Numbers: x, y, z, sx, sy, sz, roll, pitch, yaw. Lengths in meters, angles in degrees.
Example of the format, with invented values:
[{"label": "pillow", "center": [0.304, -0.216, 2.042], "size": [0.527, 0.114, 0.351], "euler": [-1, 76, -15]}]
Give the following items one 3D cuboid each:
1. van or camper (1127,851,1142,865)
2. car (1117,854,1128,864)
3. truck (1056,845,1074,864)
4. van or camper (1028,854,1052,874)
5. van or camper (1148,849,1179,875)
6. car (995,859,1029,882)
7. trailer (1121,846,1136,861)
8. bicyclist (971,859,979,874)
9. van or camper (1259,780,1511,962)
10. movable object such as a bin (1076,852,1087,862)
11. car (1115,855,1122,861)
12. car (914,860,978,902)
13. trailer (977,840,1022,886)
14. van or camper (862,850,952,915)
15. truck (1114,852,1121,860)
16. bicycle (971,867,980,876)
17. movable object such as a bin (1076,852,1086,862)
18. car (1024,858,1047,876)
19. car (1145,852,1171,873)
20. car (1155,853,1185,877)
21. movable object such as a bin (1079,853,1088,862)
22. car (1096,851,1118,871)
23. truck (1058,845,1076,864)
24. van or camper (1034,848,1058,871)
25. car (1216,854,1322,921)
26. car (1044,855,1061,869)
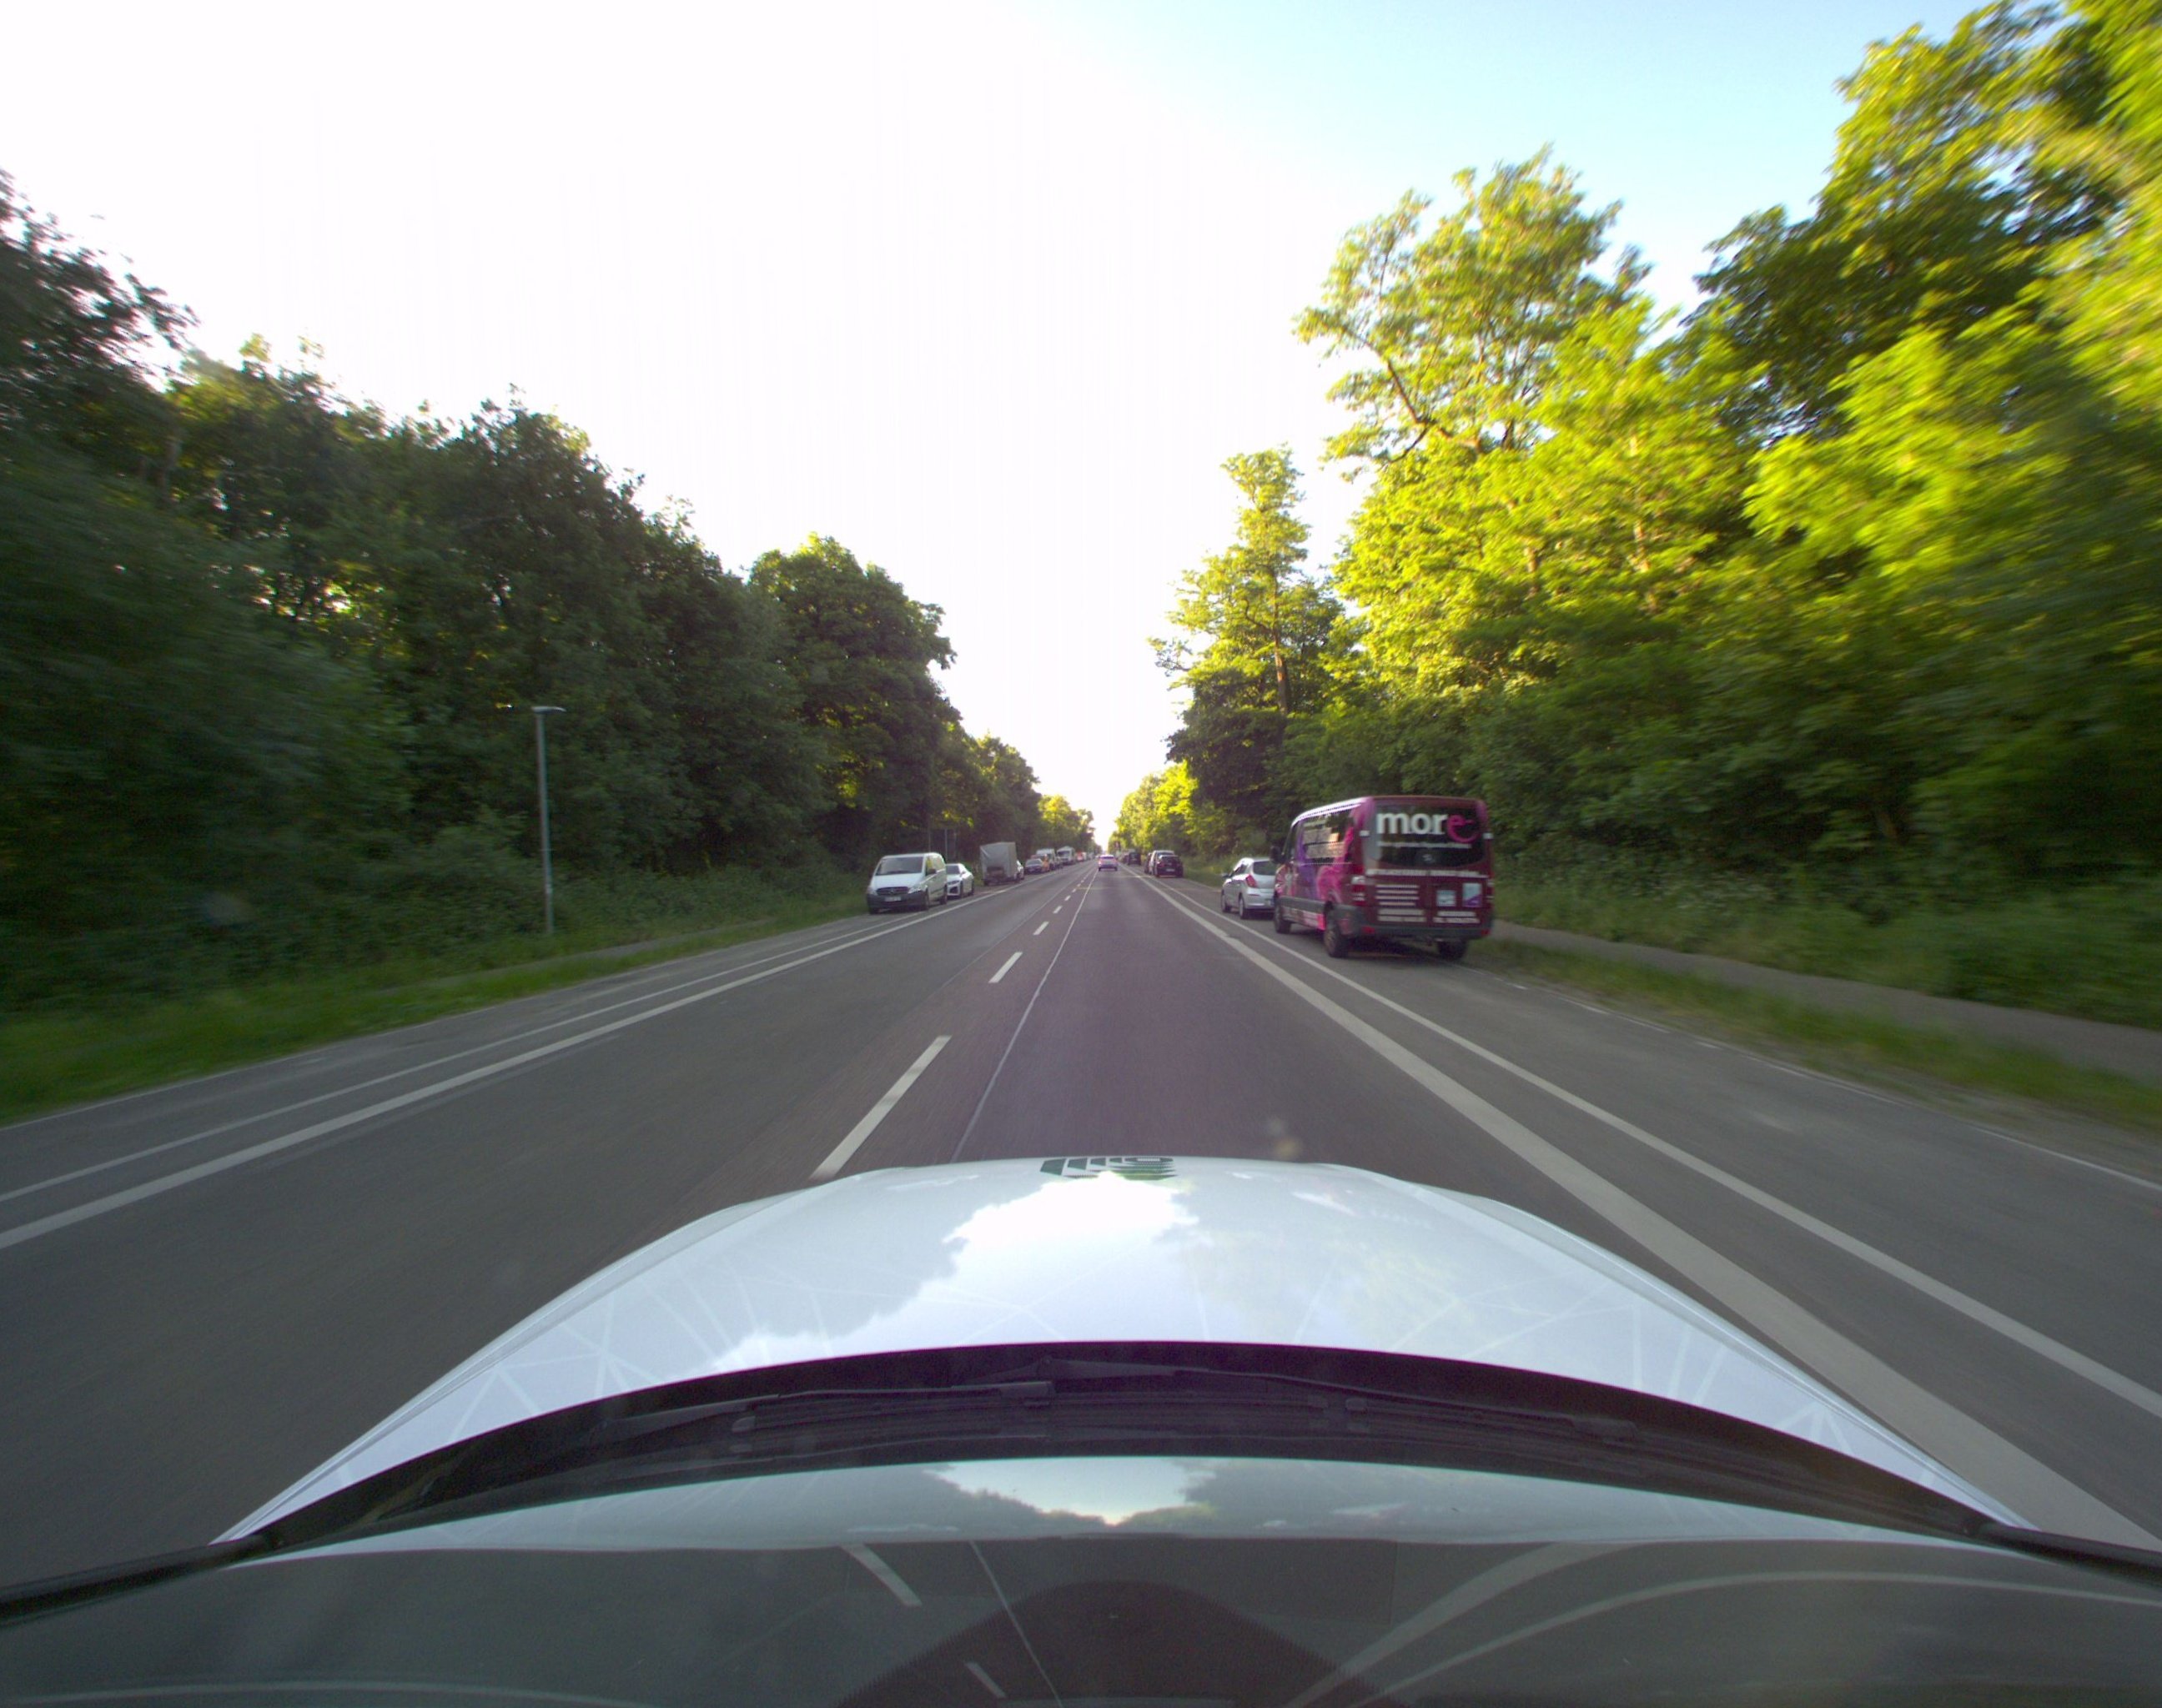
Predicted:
[{"label": "van or camper", "center": [7.476, 0.527, 113.677], "size": [1.986, 1.932, 5.201], "euler": [0, 0, 2]}, {"label": "car", "center": [6.940, 0.820, 137.056], "size": [1.834, 1.662, 4.002], "euler": [-1, 0, 2]}, {"label": "truck", "center": [-2.751, 0.111, 143.250], "size": [2.697, 3.093, 7.993], "euler": [-1, 0, 2]}, {"label": "van or camper", "center": [-4.154, 0.986, 83.750], "size": [1.915, 1.867, 4.865], "euler": [-3, 0, 2]}, {"label": "van or camper", "center": [6.080, 0.545, 60.384], "size": [1.944, 1.815, 4.382], "euler": [-1, 0, 2]}, {"label": "car", "center": [-4.804, 1.103, 57.353], "size": [1.791, 1.453, 4.627], "euler": [-3, 0, 2]}, {"label": "trailer", "center": [9.216, -0.051, 158.658], "size": [2.747, 2.870, 6.591], "euler": [-2, 0, 2]}, {"label": "bicyclist", "center": [-8.735, 1.017, 67.310], "size": [0.485, 1.235, 0.974], "euler": [-1, 0, 2]}, {"label": "van or camper", "center": [4.674, 0.215, 13.779], "size": [2.028, 2.312, 6.042], "euler": [-2, 0, 1]}, {"label": "movable object such as a bin", "center": [0.127, 0.803, 202.233], "size": [2.313, 2.501, 4.002], "euler": [-2, 0, 2]}, {"label": "car", "center": [9.041, 0.907, 194.813], "size": [1.649, 1.478, 3.755], "euler": [-2, 0, 2]}, {"label": "car", "center": [-5.618, 1.077, 34.416], "size": [1.768, 1.540, 4.526], "euler": [-3, 0, 1]}, {"label": "trailer", "center": [-4.969, 0.513, 50.185], "size": [1.986, 2.597, 4.417], "euler": [-4, 0, 2]}, {"label": "van or camper", "center": [-5.741, 0.883, 27.511], "size": [1.829, 1.911, 4.857], "euler": [-3, 0, 1]}, {"label": "truck", "center": [11.227, 0.518, 249.821], "size": [2.089, 2.452, 5.682], "euler": [-2, 0, 2]}, {"label": "bicycle", "center": [-8.736, 1.416, 67.342], "size": [0.520, 0.712, 1.488], "euler": [-1, 0, 2]}, {"label": "movable object such as a bin", "center": [0.052, 0.820, 216.955], "size": [2.313, 2.501, 4.002], "euler": [-2, 0, 2]}, {"label": "car", "center": [-4.300, 1.202, 77.006], "size": [1.725, 1.478, 4.326], "euler": [-3, 0, 2]}, {"label": "car", "center": [6.158, 0.691, 65.707], "size": [1.827, 1.660, 4.340], "euler": [0, 0, 2]}, {"label": "car", "center": [5.851, 0.717, 53.998], "size": [1.684, 1.524, 4.151], "euler": [0, 0, 2]}, {"label": "movable object such as a bin", "center": [0.674, 1.014, 239.277], "size": [2.313, 2.501, 4.002], "euler": [-2, 0, 2]}, {"label": "car", "center": [2.479, 0.668, 78.126], "size": [2.021, 1.840, 4.031], "euler": [-2, 0, 2]}, {"label": "truck", "center": [-2.632, 0.086, 154.968], "size": [2.697, 3.347, 10.928], "euler": [-1, 0, 2]}, {"label": "van or camper", "center": [-4.043, 0.616, 94.951], "size": [2.112, 2.572, 6.545], "euler": [-2, 0, 2]}, {"label": "car", "center": [4.659, 0.780, 20.751], "size": [1.742, 1.515, 3.999], "euler": [1, 0, 0]}, {"label": "car", "center": [-3.744, 0.984, 106.832], "size": [1.774, 1.684, 4.380], "euler": [-3, 0, 2]}]
